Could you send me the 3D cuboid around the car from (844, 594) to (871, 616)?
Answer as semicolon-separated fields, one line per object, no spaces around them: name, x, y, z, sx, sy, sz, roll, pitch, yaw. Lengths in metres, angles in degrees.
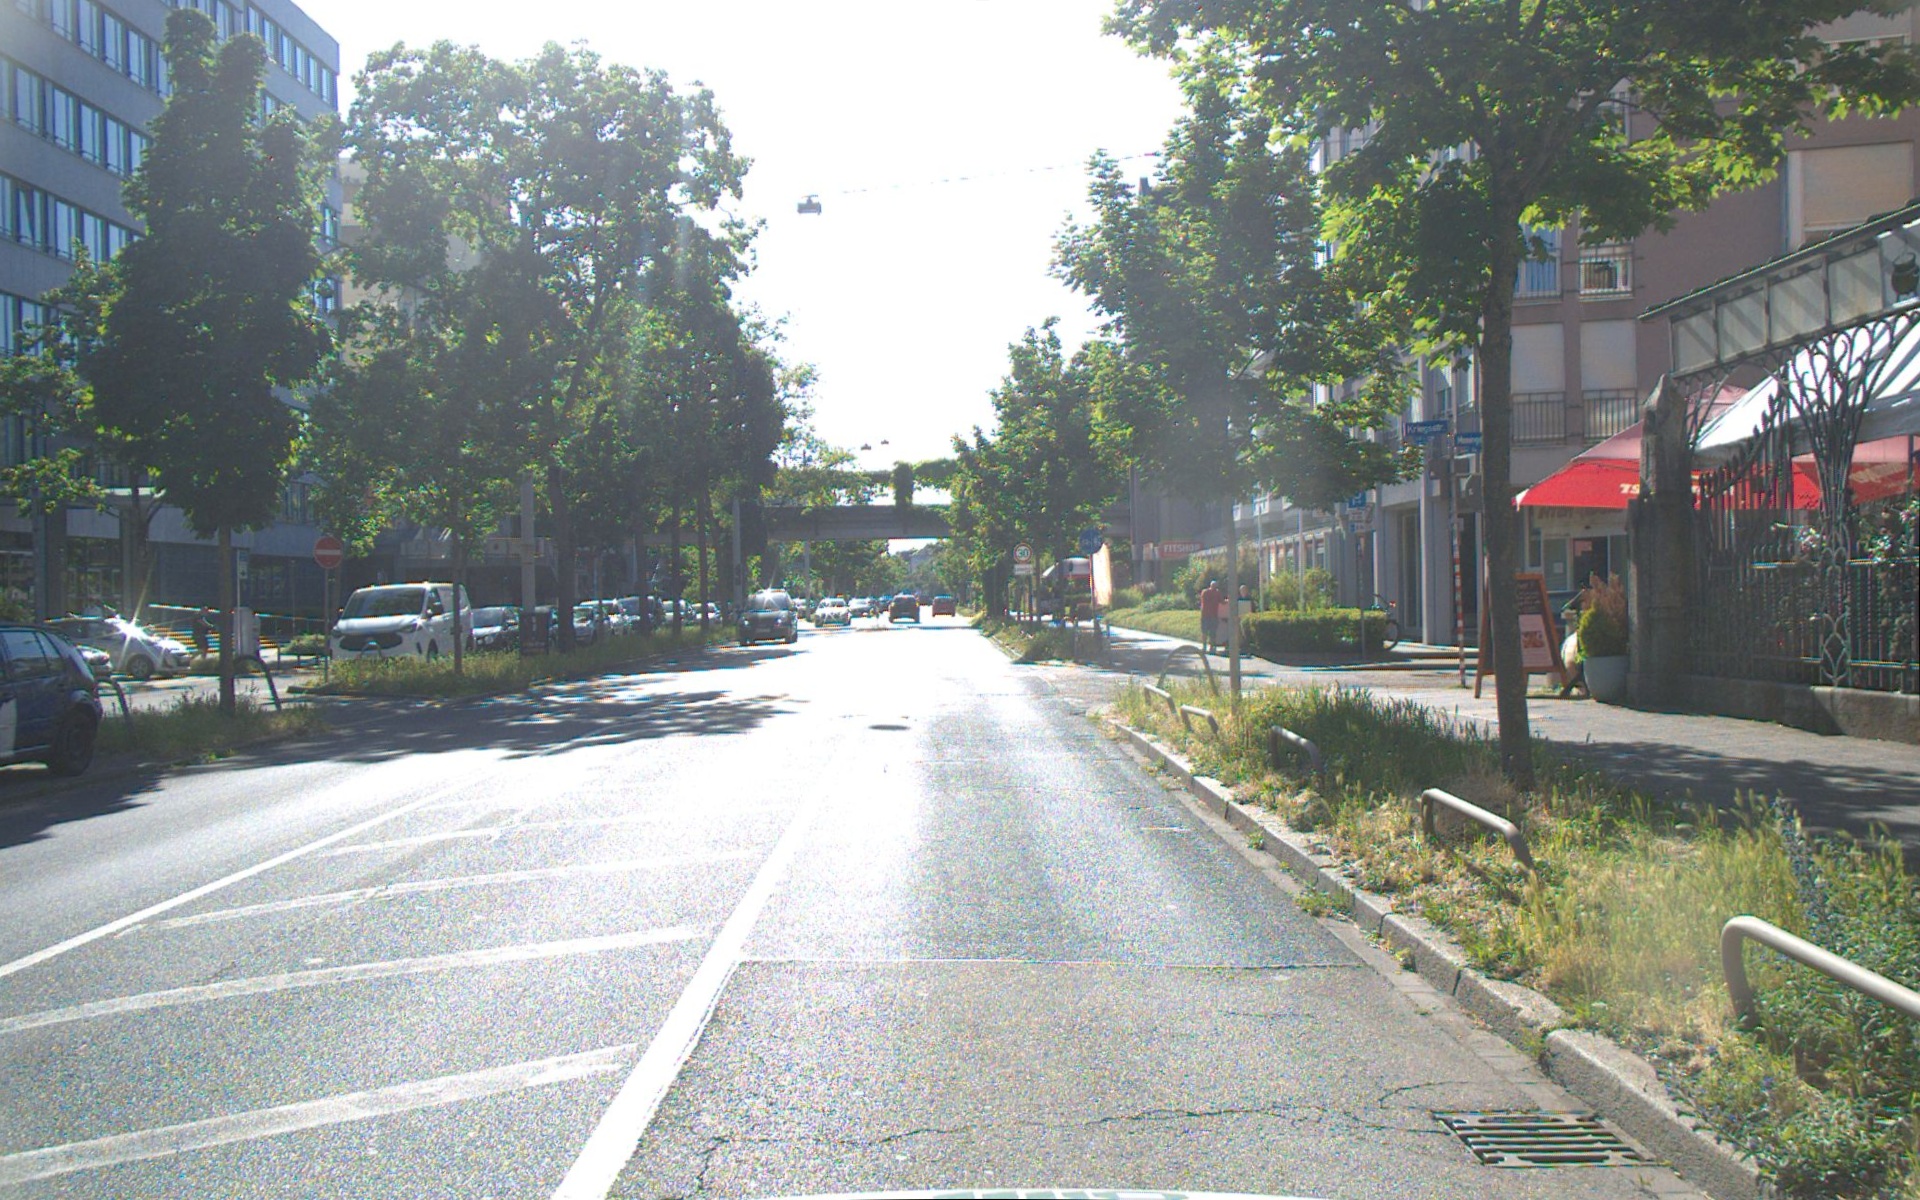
car;-7.588;0.366;122.312;1.818;1.465;4.317;-3;0;-2

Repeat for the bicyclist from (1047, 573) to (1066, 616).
bicyclist;3.903;-0.232;66.824;0.654;1.725;0.888;0;-1;-3

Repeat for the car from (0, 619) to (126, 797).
car;-8.980;0.928;14.079;1.677;1.484;4.072;0;0;0

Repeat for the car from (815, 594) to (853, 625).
car;-7.002;0.508;92.115;1.818;1.595;4.713;-2;0;-2

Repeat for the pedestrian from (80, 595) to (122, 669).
pedestrian;-25.044;0.934;48.218;0.755;2.130;0.792;1;-1;0

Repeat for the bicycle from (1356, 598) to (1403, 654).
bicycle;8.982;0.538;35.483;0.670;1.045;2.205;-2;2;7

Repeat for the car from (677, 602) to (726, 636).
car;-12.463;0.898;79.967;1.818;1.549;4.317;0;0;-2

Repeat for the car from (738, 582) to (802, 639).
car;-6.630;0.351;58.239;1.819;1.857;4.608;-3;0;-2

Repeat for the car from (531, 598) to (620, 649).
car;-11.906;0.700;51.465;1.817;1.549;4.063;0;0;0

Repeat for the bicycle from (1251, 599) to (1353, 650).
bicycle;7.765;0.551;37.606;2.150;1.045;0.687;-2;2;0

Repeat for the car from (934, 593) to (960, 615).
car;-0.951;0.284;120.215;1.817;1.549;4.319;0;0;0

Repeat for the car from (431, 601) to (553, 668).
car;-11.487;0.804;40.906;1.745;1.549;4.319;0;0;1

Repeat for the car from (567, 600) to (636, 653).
car;-12.173;0.873;56.452;1.820;1.713;4.658;0;0;-6

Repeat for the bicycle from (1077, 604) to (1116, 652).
bicycle;3.266;0.657;39.495;0.578;1.084;2.024;-1;0;15

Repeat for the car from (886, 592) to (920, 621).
car;-3.319;0.368;95.803;1.945;1.628;4.138;0;0;-2

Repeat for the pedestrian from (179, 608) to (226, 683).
pedestrian;-20.963;1.250;45.780;0.818;2.049;1.008;1;-1;-1

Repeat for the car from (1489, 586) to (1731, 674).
car;11.812;0.524;30.305;3.860;1.549;1.863;0;0;12

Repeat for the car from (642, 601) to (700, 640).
car;-12.239;0.849;70.177;1.818;1.595;3.871;0;0;-1

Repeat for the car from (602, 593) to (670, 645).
car;-12.178;0.687;62.376;1.818;1.882;4.560;0;0;-2

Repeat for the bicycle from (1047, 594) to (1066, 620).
bicycle;3.892;0.288;66.842;0.577;1.045;1.859;-1;-1;-2

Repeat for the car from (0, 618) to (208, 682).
car;-21.458;1.236;41.581;4.219;1.549;1.860;0;0;-4

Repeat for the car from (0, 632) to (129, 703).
car;-21.051;1.463;36.445;4.516;1.468;1.938;0;0;4

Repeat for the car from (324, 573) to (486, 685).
car;-11.792;0.576;35.529;1.942;2.112;5.193;-3;0;-4

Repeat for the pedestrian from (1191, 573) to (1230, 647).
pedestrian;5.708;0.231;37.685;0.641;1.631;0.602;-4;-1;-7
